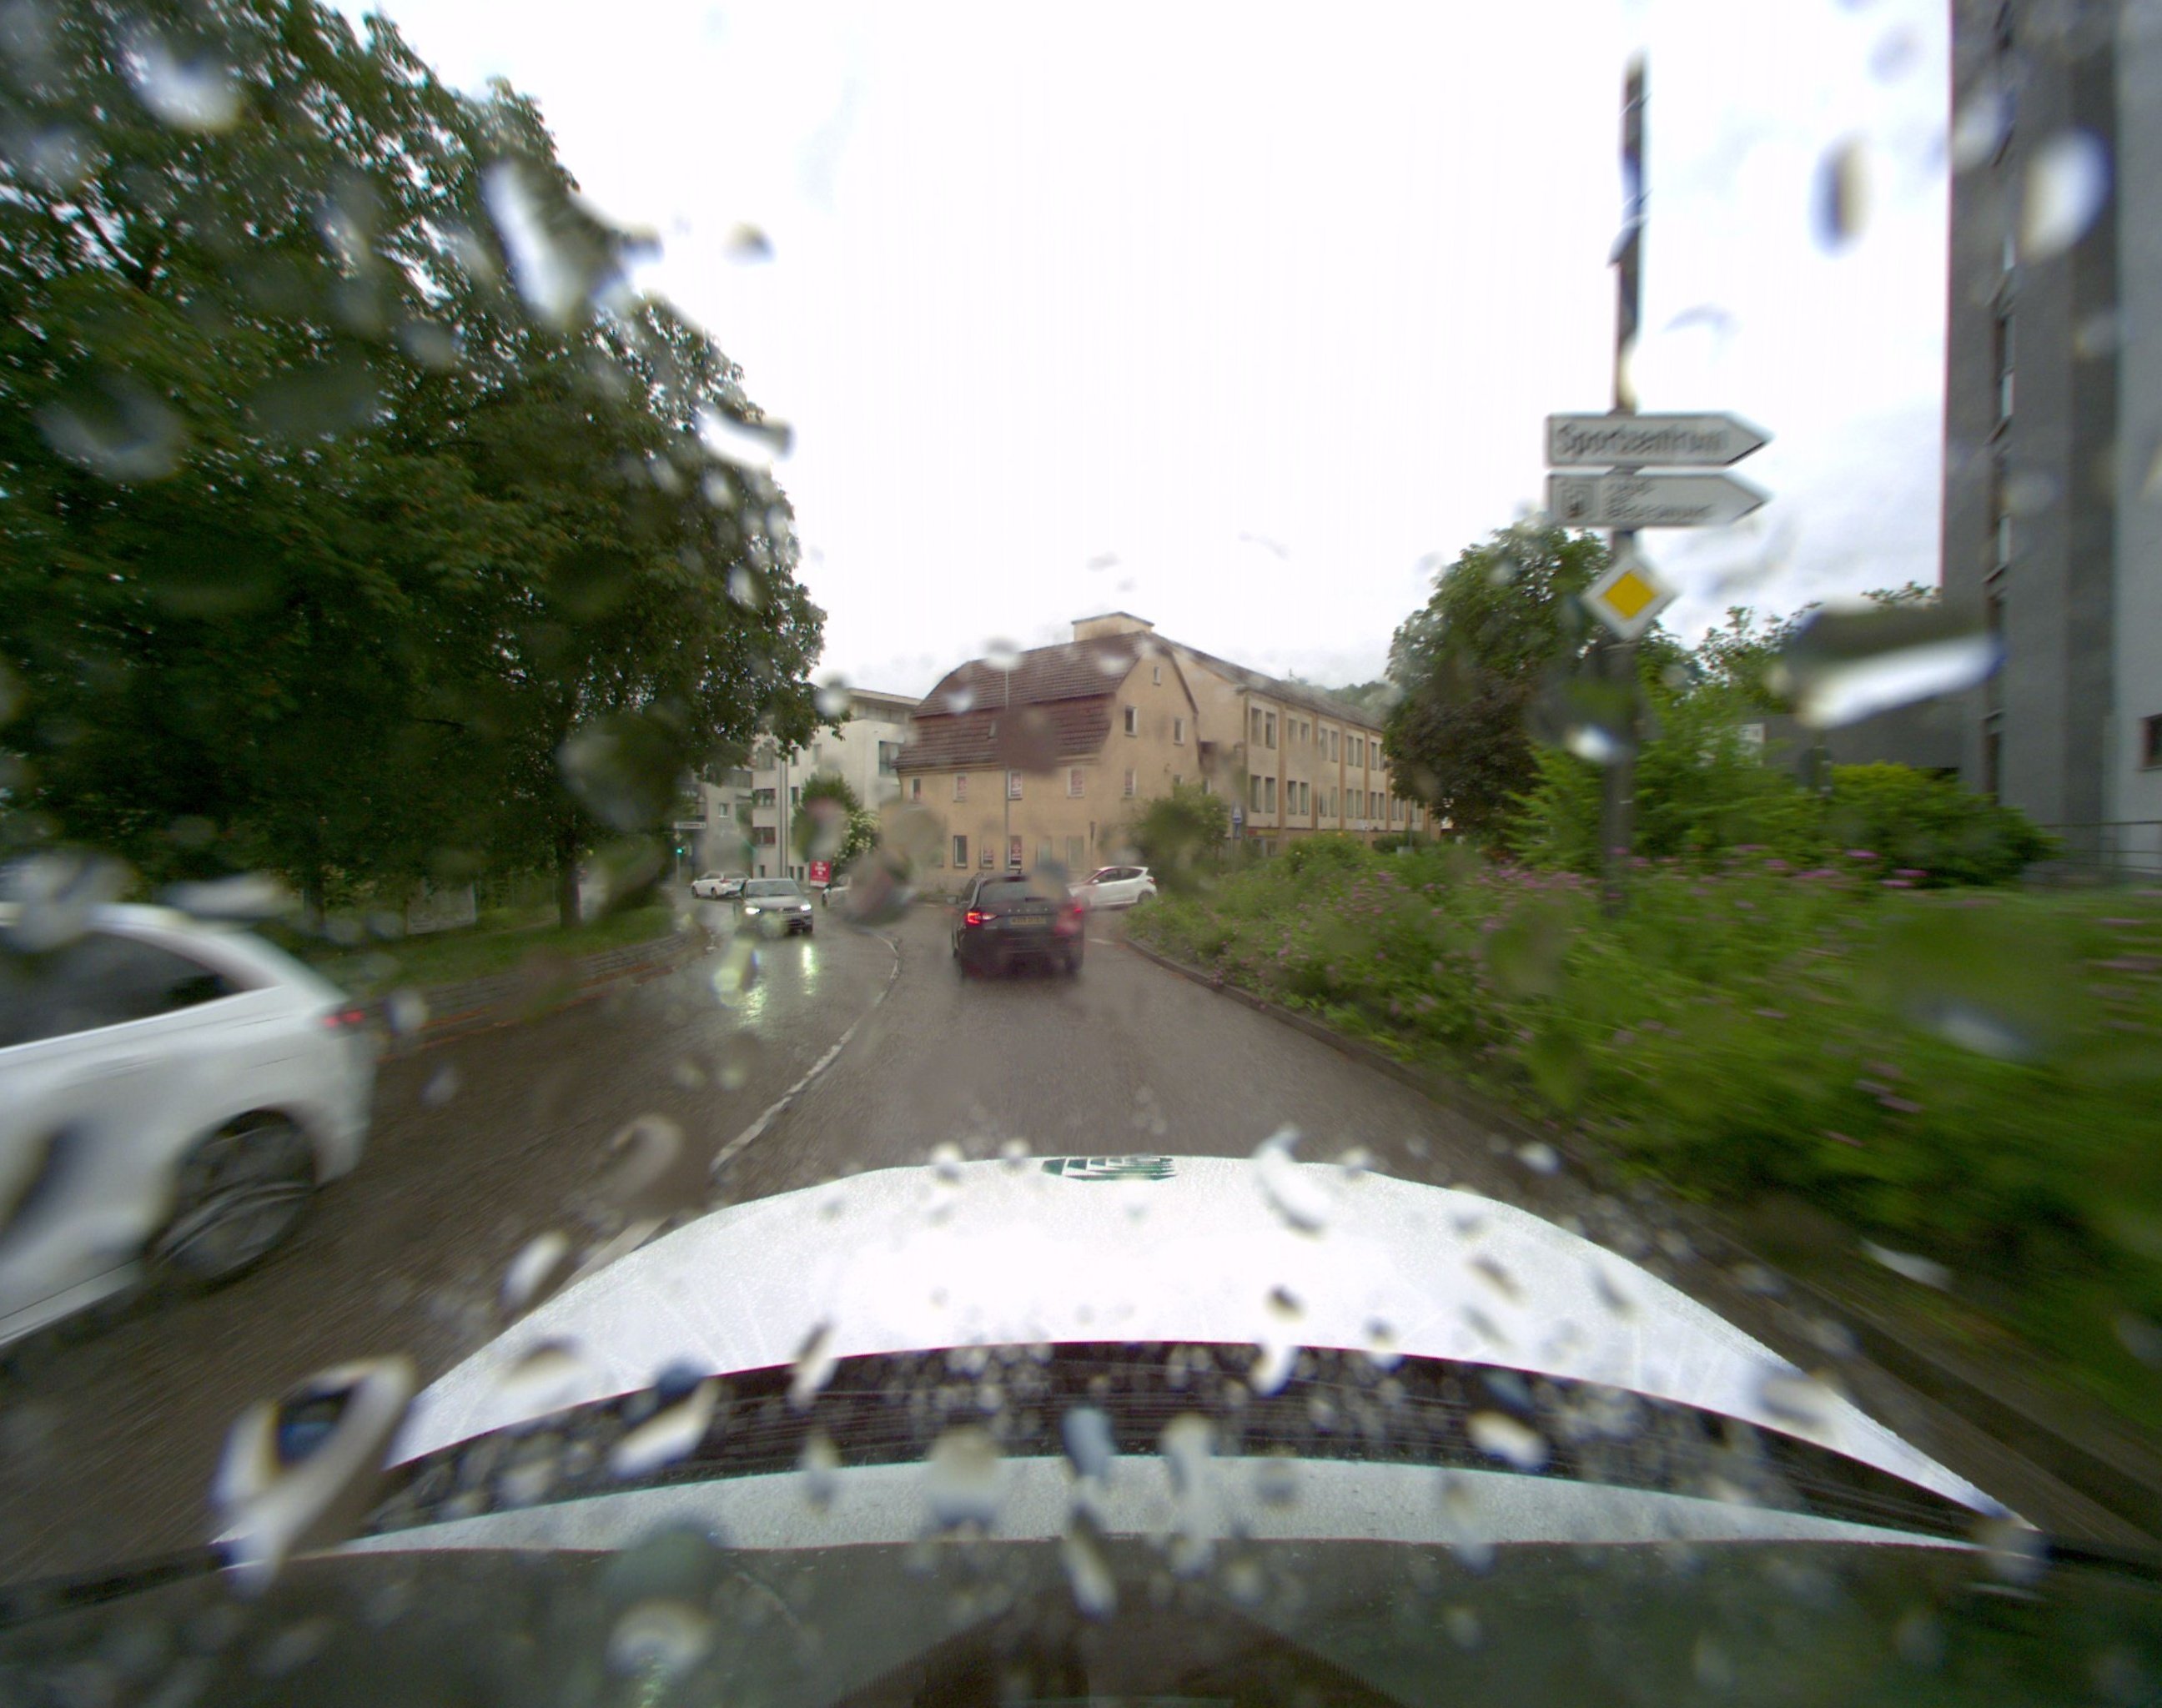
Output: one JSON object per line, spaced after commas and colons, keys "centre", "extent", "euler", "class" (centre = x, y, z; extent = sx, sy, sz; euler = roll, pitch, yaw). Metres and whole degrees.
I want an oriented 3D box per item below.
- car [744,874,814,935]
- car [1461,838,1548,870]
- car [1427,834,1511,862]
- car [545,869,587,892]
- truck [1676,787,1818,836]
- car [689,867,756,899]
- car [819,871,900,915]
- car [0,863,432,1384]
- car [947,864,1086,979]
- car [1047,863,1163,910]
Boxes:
{"centre": [-8.835, 1.409, 23.658], "extent": [1.735, 1.543, 4.267], "euler": [-1, -2, -22], "class": "car"}
{"centre": [22.612, 0.008, 43.537], "extent": [3.854, 1.573, 1.730], "euler": [-1, 0, 37], "class": "car"}
{"centre": [22.779, -0.342, 47.979], "extent": [4.365, 1.573, 1.729], "euler": [-1, 0, 23], "class": "car"}
{"centre": [-39.578, 1.998, 62.517], "extent": [3.642, 1.590, 1.910], "euler": [0, 1, 44], "class": "car"}
{"centre": [37.752, -2.335, 46.501], "extent": [2.294, 2.275, 6.679], "euler": [-2, -1, -3], "class": "truck"}
{"centre": [-18.709, 1.538, 42.392], "extent": [4.131, 1.591, 1.743], "euler": [-3, -3, 44], "class": "car"}
{"centre": [-8.339, 1.398, 30.393], "extent": [1.830, 1.359, 3.949], "euler": [0, 1, -32], "class": "car"}
{"centre": [-4.003, 0.793, 1.823], "extent": [1.718, 1.505, 4.256], "euler": [-1, 0, -1], "class": "car"}
{"centre": [-1.200, 0.957, 13.075], "extent": [1.782, 1.483, 4.230], "euler": [-2, -1, -10], "class": "car"}
{"centre": [0.829, 1.113, 28.779], "extent": [3.757, 1.453, 1.704], "euler": [-2, 0, -15], "class": "car"}
